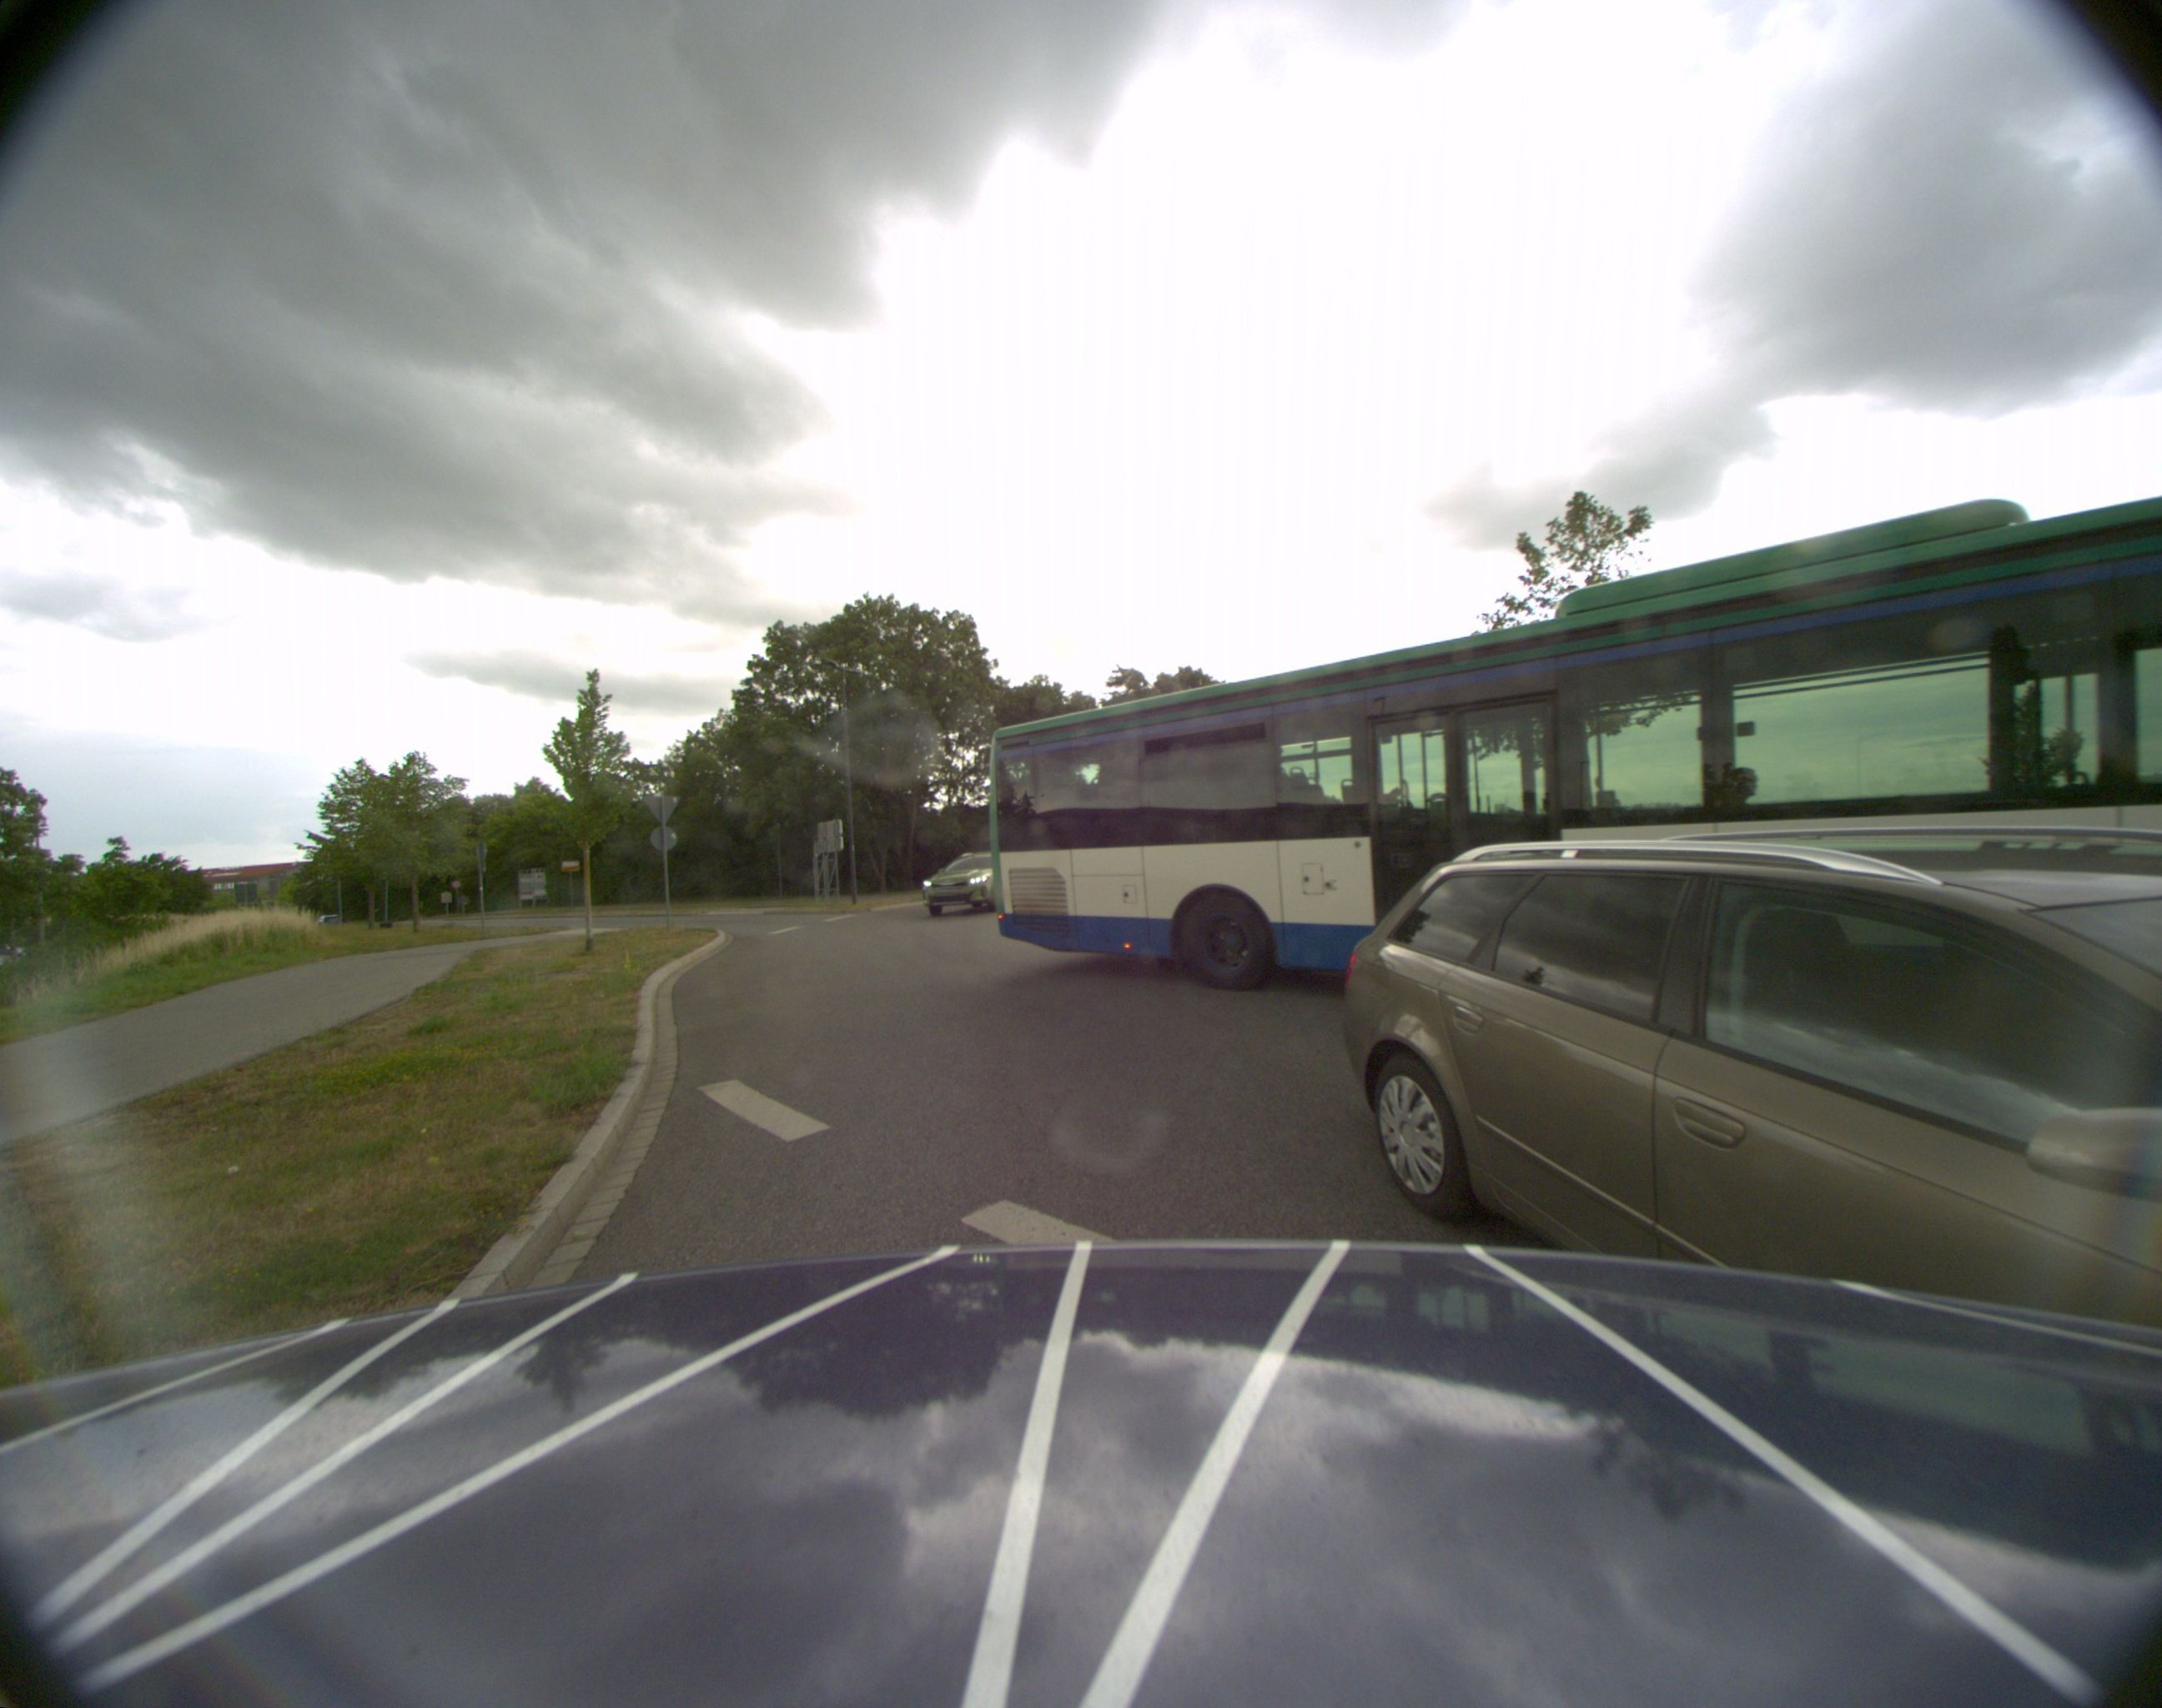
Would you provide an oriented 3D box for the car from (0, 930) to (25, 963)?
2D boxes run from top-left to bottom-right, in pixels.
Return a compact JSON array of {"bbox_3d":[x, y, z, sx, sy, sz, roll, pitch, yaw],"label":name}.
[{"bbox_3d":[-53.418,4.576,35.896,1.879,1.435,4.007,-3,0,33],"label":"car"}]

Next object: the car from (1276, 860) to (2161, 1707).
[{"bbox_3d":[2.205,0.797,1.663,1.783,1.456,4.537,-3,0,-8],"label":"car"}]

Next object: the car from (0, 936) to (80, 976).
[{"bbox_3d":[-46.856,4.522,32.931,3.896,1.455,1.693,-3,0,-42],"label":"car"}]

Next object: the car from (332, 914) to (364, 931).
[{"bbox_3d":[-78.263,7.320,81.136,4.072,1.422,1.766,-6,0,37],"label":"car"}]

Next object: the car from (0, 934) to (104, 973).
[{"bbox_3d":[-49.606,4.744,35.919,3.896,1.455,1.693,-3,0,-42],"label":"car"}]

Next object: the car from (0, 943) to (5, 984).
[{"bbox_3d":[-39.983,3.995,25.647,3.896,1.455,1.693,-3,0,-42],"label":"car"}]

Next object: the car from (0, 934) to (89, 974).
[{"bbox_3d":[-48.485,4.603,34.495,3.896,1.455,1.693,-3,0,-42],"label":"car"}]

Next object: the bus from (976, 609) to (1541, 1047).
[{"bbox_3d":[1.645,-0.190,8.375,5.445,3.240,2.530,-1,2,42],"label":"bus"}]

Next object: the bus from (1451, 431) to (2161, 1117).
[{"bbox_3d":[6.063,-0.403,4.437,6.530,3.239,2.530,-1,2,42],"label":"bus"}]

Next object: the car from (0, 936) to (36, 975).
[{"bbox_3d":[-44.634,4.190,29.847,3.896,1.455,1.693,-3,0,-42],"label":"car"}]

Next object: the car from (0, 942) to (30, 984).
[{"bbox_3d":[-42.154,4.217,27.871,3.896,1.455,1.693,-3,0,-42],"label":"car"}]

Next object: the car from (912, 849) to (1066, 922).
[{"bbox_3d":[-2.243,0.746,20.080,1.922,1.493,4.887,-4,0,20],"label":"car"}]
